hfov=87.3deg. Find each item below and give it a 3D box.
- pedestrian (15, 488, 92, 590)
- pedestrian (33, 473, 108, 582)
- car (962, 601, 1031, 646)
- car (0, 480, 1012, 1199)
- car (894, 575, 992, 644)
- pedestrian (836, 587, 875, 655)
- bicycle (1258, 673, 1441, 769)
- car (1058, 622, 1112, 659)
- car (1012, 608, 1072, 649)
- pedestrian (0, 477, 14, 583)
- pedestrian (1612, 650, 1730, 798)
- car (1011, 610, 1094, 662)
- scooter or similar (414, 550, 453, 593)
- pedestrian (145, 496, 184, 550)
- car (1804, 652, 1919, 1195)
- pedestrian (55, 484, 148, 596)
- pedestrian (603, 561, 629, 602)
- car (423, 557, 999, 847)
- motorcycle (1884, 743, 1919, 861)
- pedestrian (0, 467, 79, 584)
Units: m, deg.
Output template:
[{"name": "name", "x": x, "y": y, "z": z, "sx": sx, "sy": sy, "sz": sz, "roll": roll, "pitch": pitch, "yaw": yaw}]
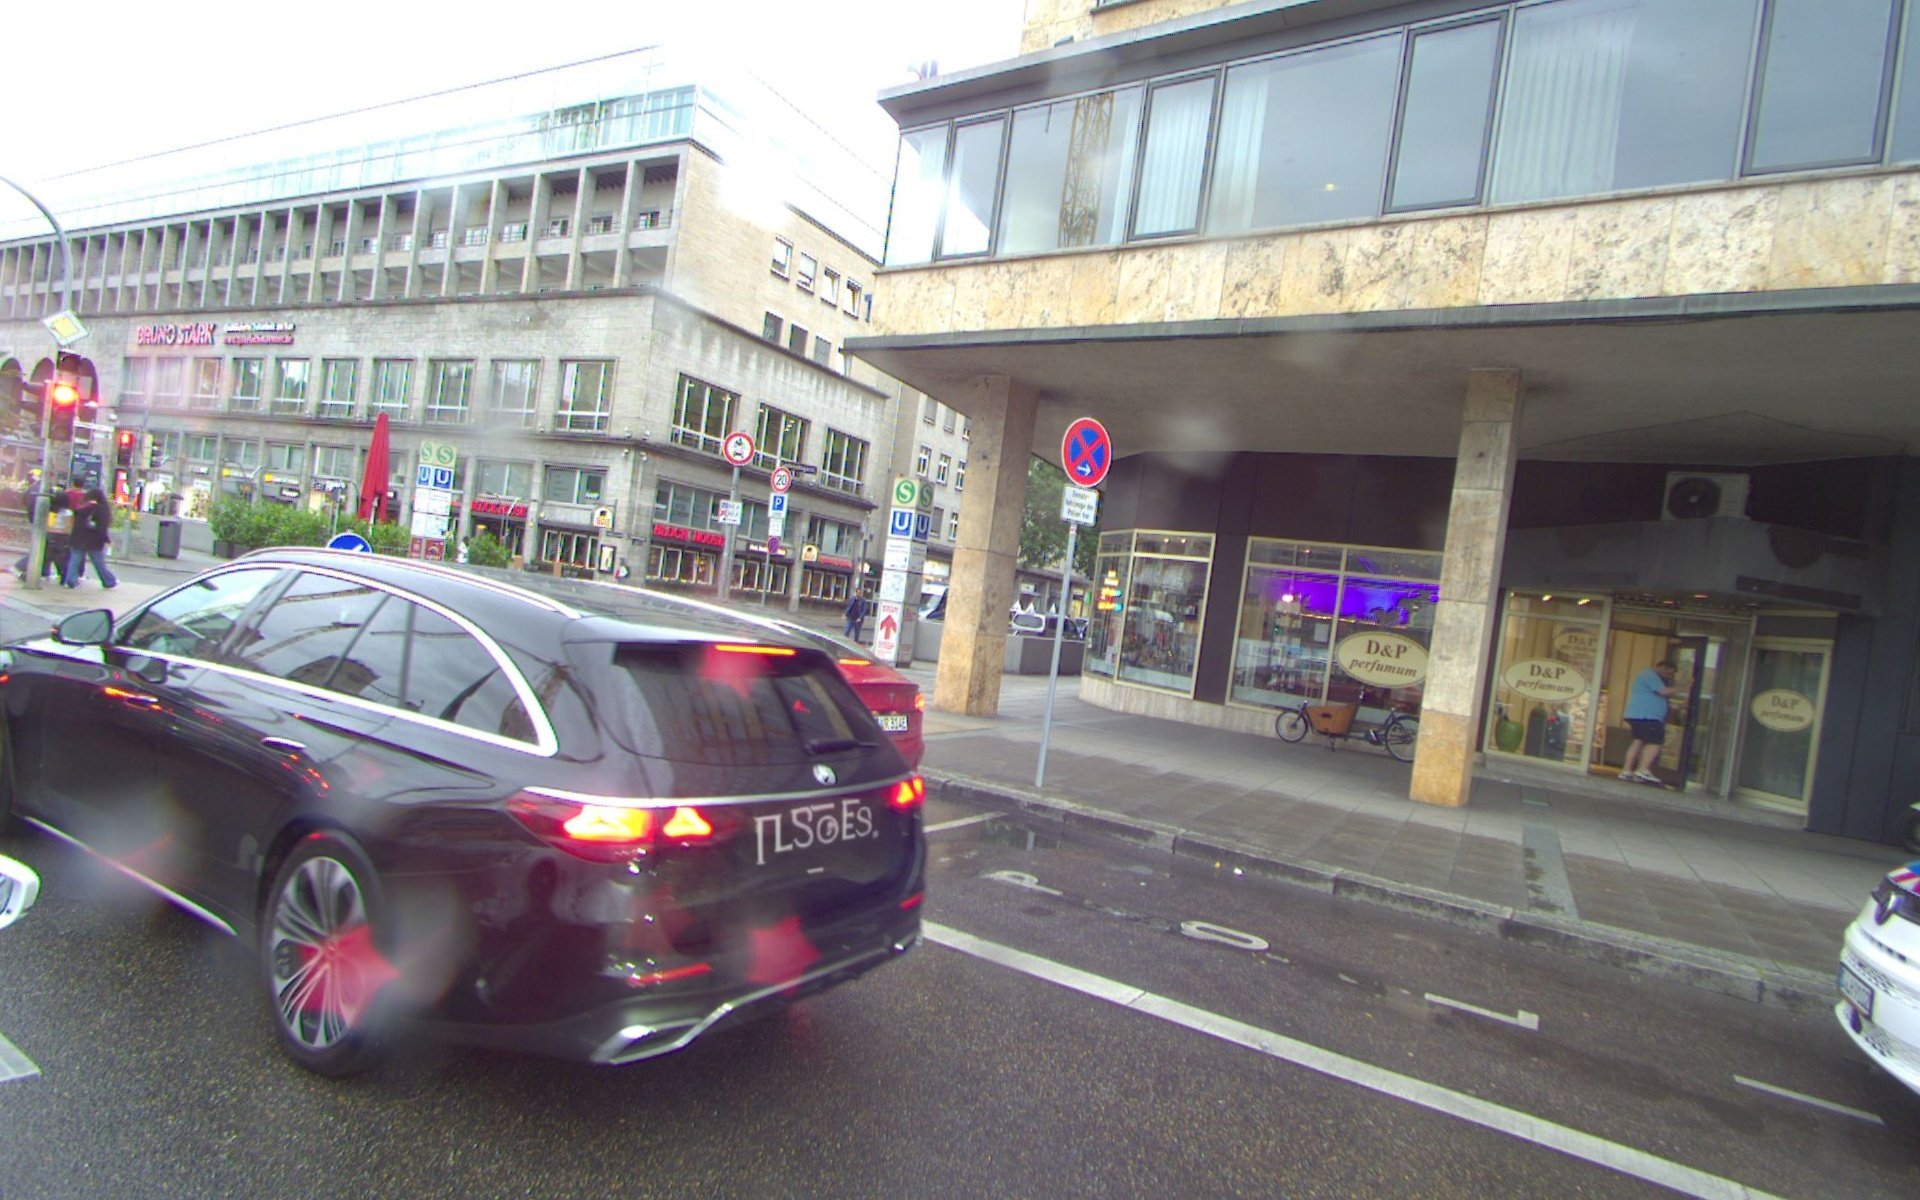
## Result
[{"name": "pedestrian", "x": -14.294, "y": -0.956, "z": 15.872, "sx": 0.360, "sy": 1.491, "sz": 0.680, "roll": 7, "pitch": -1, "yaw": 27}, {"name": "pedestrian", "x": -15.402, "y": -1.232, "z": 17.437, "sx": 0.561, "sy": 1.772, "sz": 0.678, "roll": 7, "pitch": -1, "yaw": -15}, {"name": "car", "x": 2.173, "y": 1.391, "z": 58.392, "sx": 1.966, "sy": 2.065, "sz": 4.557, "roll": 7, "pitch": -2, "yaw": 29}, {"name": "car", "x": -2.280, "y": 0.497, "z": 4.165, "sx": 4.551, "sy": 1.519, "sz": 1.797, "roll": 6, "pitch": -2, "yaw": 31}, {"name": "car", "x": -0.760, "y": 0.555, "z": 51.476, "sx": 1.965, "sy": 2.792, "sz": 6.185, "roll": 7, "pitch": -2, "yaw": 28}, {"name": "pedestrian", "x": -2.887, "y": 0.581, "z": 27.765, "sx": 0.768, "sy": 1.777, "sz": 0.503, "roll": 8, "pitch": -1, "yaw": -15}, {"name": "bicycle", "x": 5.911, "y": 1.811, "z": 15.354, "sx": 2.431, "sy": 1.058, "sz": 0.657, "roll": 6, "pitch": -1, "yaw": 32}, {"name": "car", "x": 8.774, "y": 2.884, "z": 70.465, "sx": 1.965, "sy": 2.065, "sz": 4.834, "roll": 7, "pitch": -2, "yaw": 28}, {"name": "car", "x": 5.219, "y": 1.812, "z": 63.750, "sx": 1.966, "sy": 2.065, "sz": 4.483, "roll": 7, "pitch": -2, "yaw": 29}, {"name": "pedestrian", "x": -12.433, "y": -0.767, "z": 12.360, "sx": 0.884, "sy": 1.645, "sz": 0.795, "roll": 7, "pitch": -1, "yaw": 28}, {"name": "pedestrian", "x": 9.715, "y": 1.670, "z": 13.746, "sx": 1.119, "sy": 1.811, "sz": 0.798, "roll": 6, "pitch": -1, "yaw": 39}, {"name": "car", "x": 4.347, "y": 1.711, "z": 46.637, "sx": 1.966, "sy": 1.995, "sz": 4.638, "roll": 7, "pitch": -1, "yaw": 29}, {"name": "scooter or similar", "x": -16.370, "y": -0.883, "z": 31.268, "sx": 1.000, "sy": 1.203, "sz": 0.291, "roll": 7, "pitch": -1, "yaw": 13}, {"name": "pedestrian", "x": -32.342, "y": -3.110, "z": 40.916, "sx": 0.754, "sy": 2.037, "sz": 0.822, "roll": 8, "pitch": -1, "yaw": -16}, {"name": "car", "x": 5.961, "y": 1.427, "z": 3.007, "sx": 4.853, "sy": 1.942, "sz": 1.878, "roll": 6, "pitch": -2, "yaw": 31}, {"name": "pedestrian", "x": -13.602, "y": -0.938, "z": 15.949, "sx": 0.609, "sy": 1.627, "sz": 0.801, "roll": 7, "pitch": -1, "yaw": 28}, {"name": "pedestrian", "x": -13.771, "y": -0.741, "z": 40.274, "sx": 0.748, "sy": 1.530, "sz": 0.714, "roll": 8, "pitch": -1, "yaw": -16}, {"name": "car", "x": -2.143, "y": 0.683, "z": 8.271, "sx": 4.451, "sy": 1.503, "sz": 1.878, "roll": 6, "pitch": -2, "yaw": 31}, {"name": "motorcycle", "x": 11.138, "y": 2.283, "z": 10.491, "sx": 2.074, "sy": 1.232, "sz": 0.567, "roll": 6, "pitch": -2, "yaw": 40}, {"name": "pedestrian", "x": -14.761, "y": -1.177, "z": 16.068, "sx": 0.458, "sy": 1.737, "sz": 0.757, "roll": 7, "pitch": -1, "yaw": 28}]
